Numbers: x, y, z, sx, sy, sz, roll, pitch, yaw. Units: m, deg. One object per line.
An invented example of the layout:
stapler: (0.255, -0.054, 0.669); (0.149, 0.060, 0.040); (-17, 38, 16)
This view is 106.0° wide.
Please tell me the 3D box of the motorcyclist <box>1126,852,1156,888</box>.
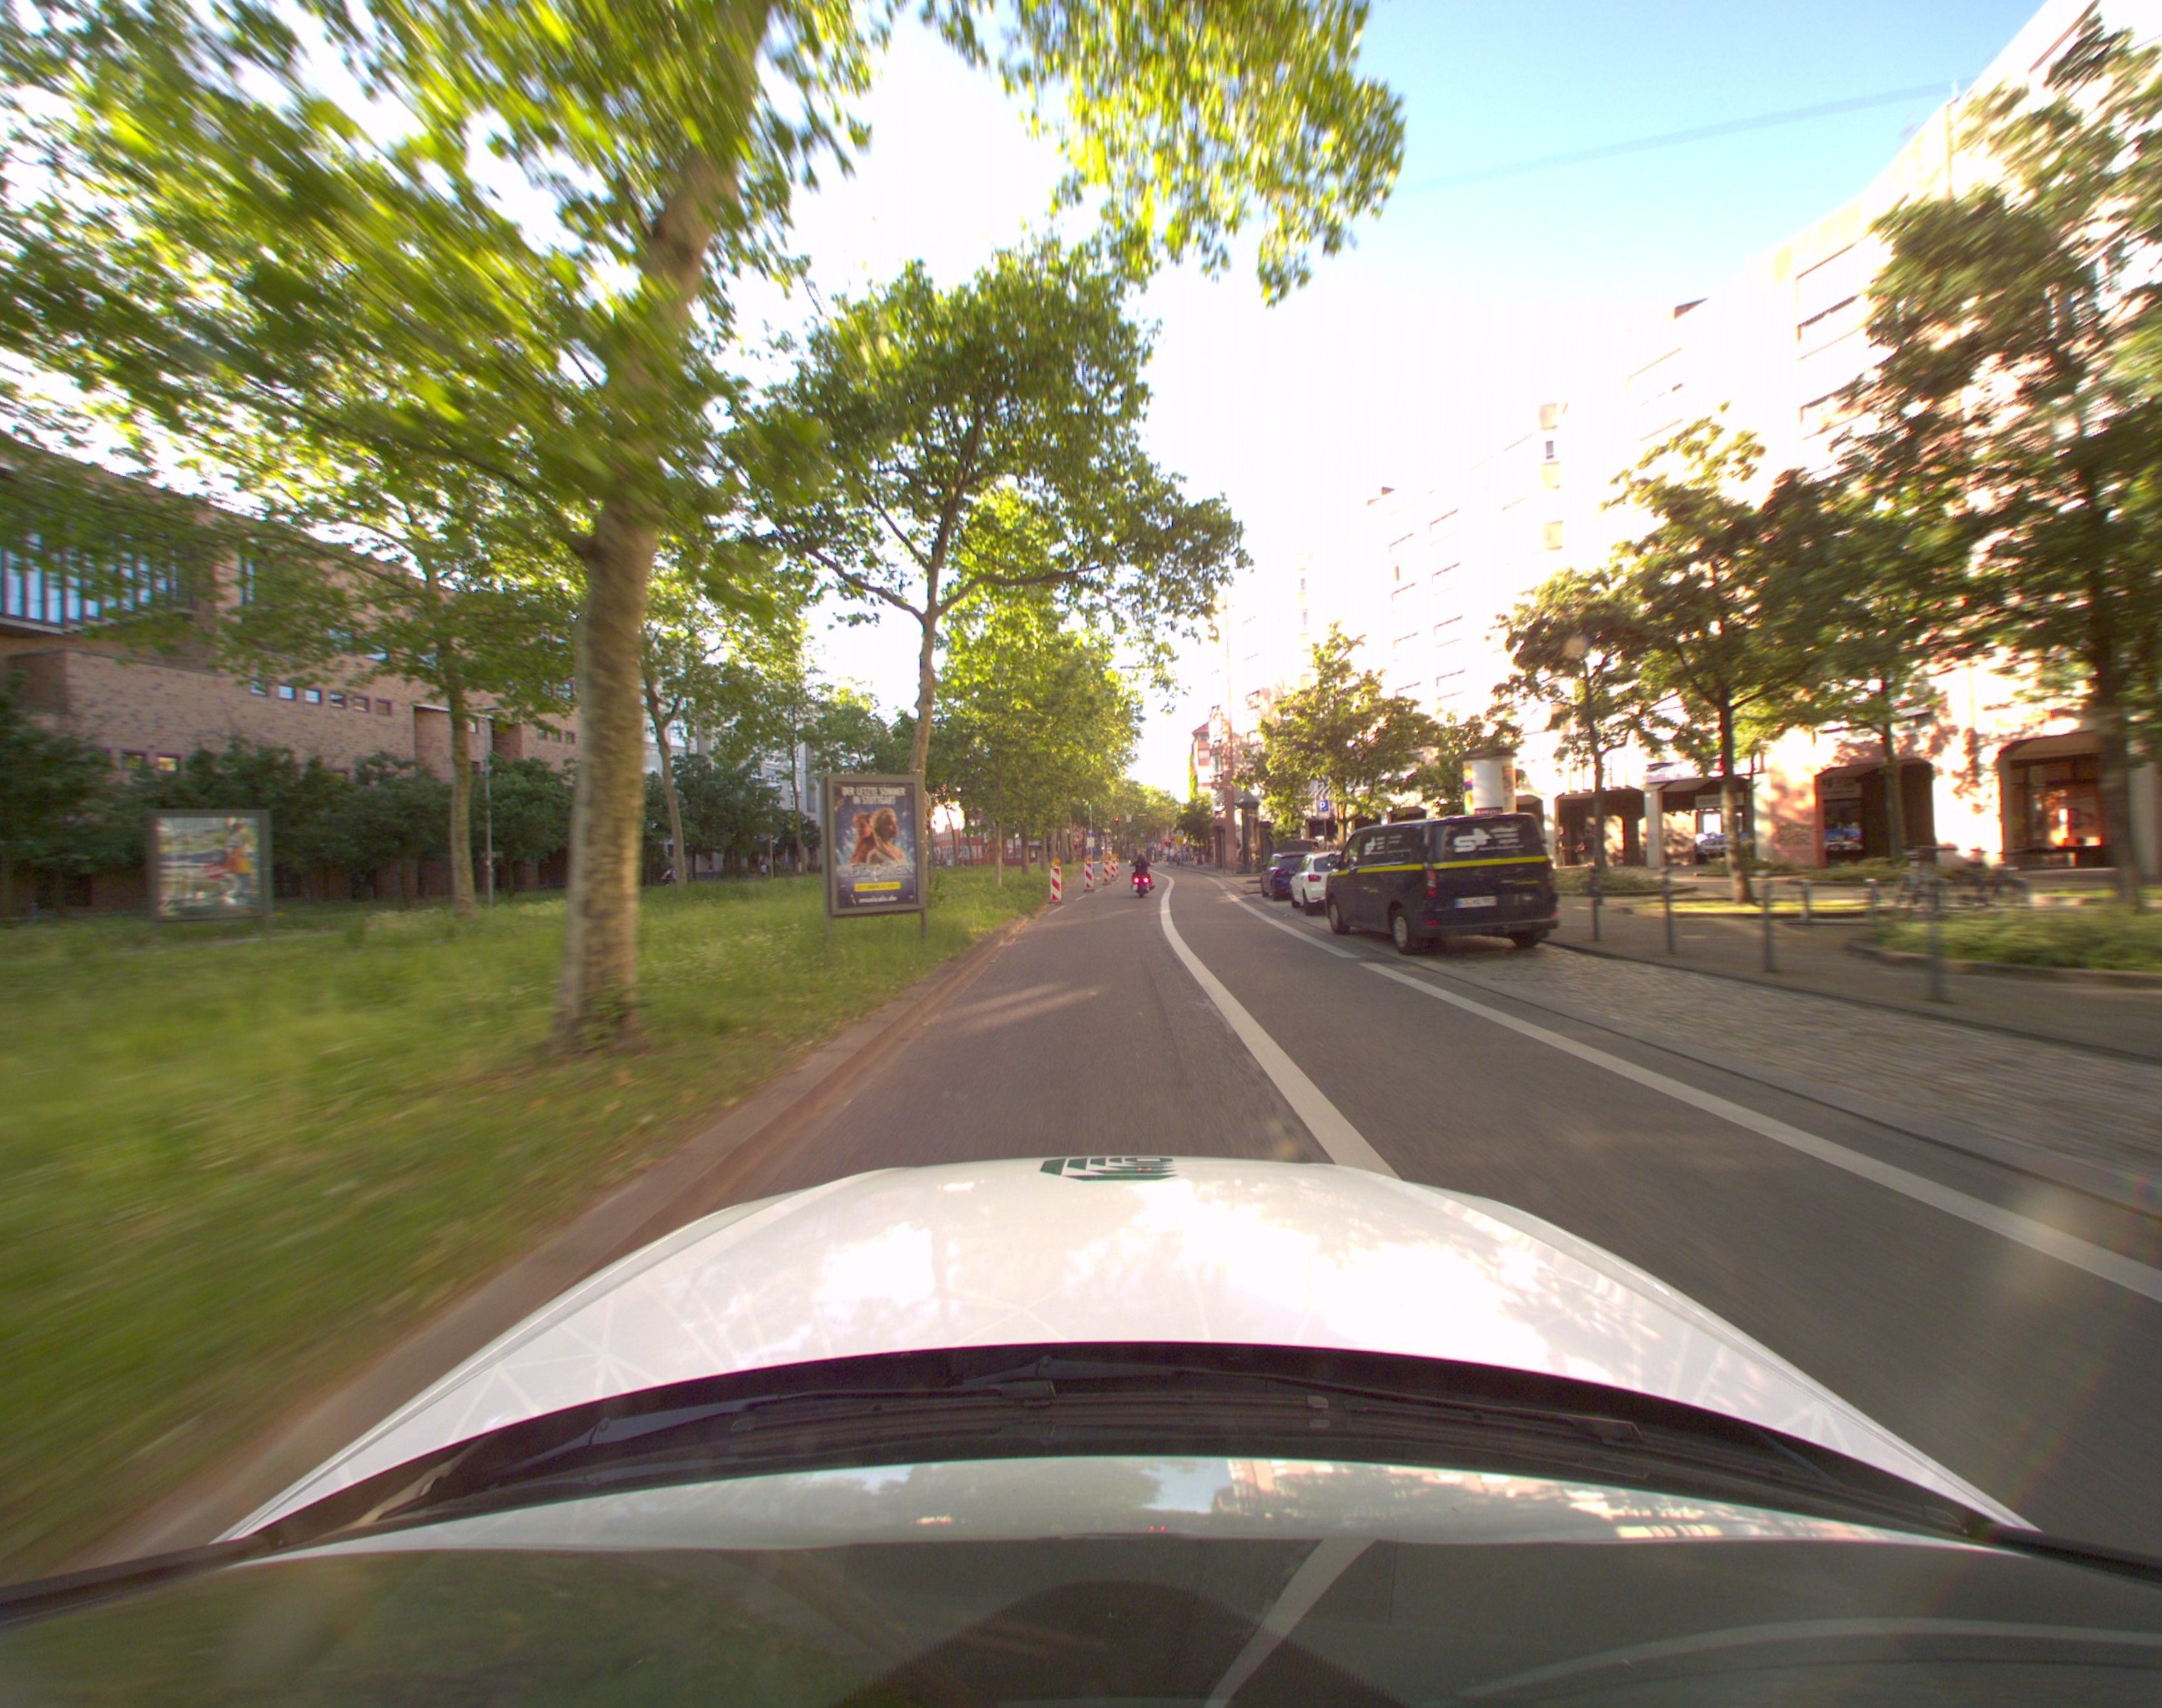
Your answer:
motorcyclist: (2.124, 0.552, 28.729); (1.007, 1.263, 0.775); (0, 0, 4)

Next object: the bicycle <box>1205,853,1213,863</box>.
bicycle: (15.195, 0.457, 96.569); (0.617, 1.225, 1.934); (-2, 0, 15)

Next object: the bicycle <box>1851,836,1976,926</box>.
bicycle: (12.002, 0.346, 11.822); (0.647, 1.187, 2.198); (-2, 0, 29)

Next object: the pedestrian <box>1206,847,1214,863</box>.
pedestrian: (14.219, 0.080, 89.903); (0.776, 1.738, 0.839); (-2, 0, 11)

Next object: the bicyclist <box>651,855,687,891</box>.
bicyclist: (-18.650, 0.858, 36.867); (0.937, 1.571, 1.210); (-2, 0, 3)

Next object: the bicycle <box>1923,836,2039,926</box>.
bicycle: (12.522, 0.341, 11.393); (0.479, 1.154, 1.924); (-2, 0, 29)

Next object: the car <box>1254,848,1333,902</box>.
car: (6.717, 0.616, 26.126); (1.694, 1.483, 4.255); (-3, 0, 5)

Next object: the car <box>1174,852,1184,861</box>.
car: (21.481, 0.578, 177.694); (1.608, 1.865, 3.789); (-2, 0, 15)

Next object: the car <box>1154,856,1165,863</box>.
car: (13.914, 0.951, 143.962); (1.610, 1.302, 4.325); (-2, 0, 11)

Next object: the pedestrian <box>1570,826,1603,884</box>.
pedestrian: (17.715, 0.025, 28.549); (0.636, 1.981, 0.776); (-2, 0, 3)

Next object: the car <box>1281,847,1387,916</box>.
car: (6.209, 0.614, 20.424); (1.693, 1.465, 4.182); (-3, 0, 6)

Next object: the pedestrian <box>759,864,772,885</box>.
pedestrian: (-26.626, 1.696, 68.677); (0.725, 1.740, 0.649); (-2, 0, 6)

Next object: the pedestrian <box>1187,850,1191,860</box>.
pedestrian: (19.583, 0.146, 148.124); (0.697, 1.733, 0.769); (-2, -1, 6)

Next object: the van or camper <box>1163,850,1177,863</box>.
van or camper: (17.609, 0.473, 160.200); (2.035, 2.540, 5.792); (-2, 0, 12)

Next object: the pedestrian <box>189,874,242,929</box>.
pedestrian: (-30.386, 1.655, 28.602); (0.820, 1.831, 0.902); (-2, 0, 3)

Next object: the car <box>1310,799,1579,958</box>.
car: (5.486, 0.320, 13.253); (2.030, 1.943, 5.198); (-4, 0, 1)

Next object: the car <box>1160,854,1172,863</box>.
car: (16.068, 0.846, 153.914); (1.609, 1.619, 4.500); (-2, 0, 12)

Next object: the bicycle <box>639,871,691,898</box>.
bicycle: (-18.627, 1.358, 36.558); (0.952, 1.126, 2.438); (-2, -1, 3)

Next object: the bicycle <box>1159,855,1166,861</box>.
bicycle: (13.691, 0.704, 136.864); (0.736, 1.053, 1.748); (-2, 0, -7)

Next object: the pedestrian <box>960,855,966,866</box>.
pedestrian: (-20.863, 1.102, 144.057); (0.850, 1.869, 0.754); (-2, 0, 10)

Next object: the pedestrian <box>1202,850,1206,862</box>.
pedestrian: (17.572, 0.304, 116.546); (0.457, 1.672, 0.681); (-2, -1, 6)

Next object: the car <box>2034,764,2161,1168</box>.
car: (5.350, 0.432, 1.549); (1.790, 1.724, 4.579); (-4, 0, 3)

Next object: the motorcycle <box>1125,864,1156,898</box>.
motorcycle: (2.106, 0.936, 28.617); (1.013, 1.097, 2.010); (-2, 0, 4)

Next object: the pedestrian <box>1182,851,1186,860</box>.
pedestrian: (18.696, 0.292, 148.206); (0.641, 1.578, 0.749); (-2, -1, 6)
